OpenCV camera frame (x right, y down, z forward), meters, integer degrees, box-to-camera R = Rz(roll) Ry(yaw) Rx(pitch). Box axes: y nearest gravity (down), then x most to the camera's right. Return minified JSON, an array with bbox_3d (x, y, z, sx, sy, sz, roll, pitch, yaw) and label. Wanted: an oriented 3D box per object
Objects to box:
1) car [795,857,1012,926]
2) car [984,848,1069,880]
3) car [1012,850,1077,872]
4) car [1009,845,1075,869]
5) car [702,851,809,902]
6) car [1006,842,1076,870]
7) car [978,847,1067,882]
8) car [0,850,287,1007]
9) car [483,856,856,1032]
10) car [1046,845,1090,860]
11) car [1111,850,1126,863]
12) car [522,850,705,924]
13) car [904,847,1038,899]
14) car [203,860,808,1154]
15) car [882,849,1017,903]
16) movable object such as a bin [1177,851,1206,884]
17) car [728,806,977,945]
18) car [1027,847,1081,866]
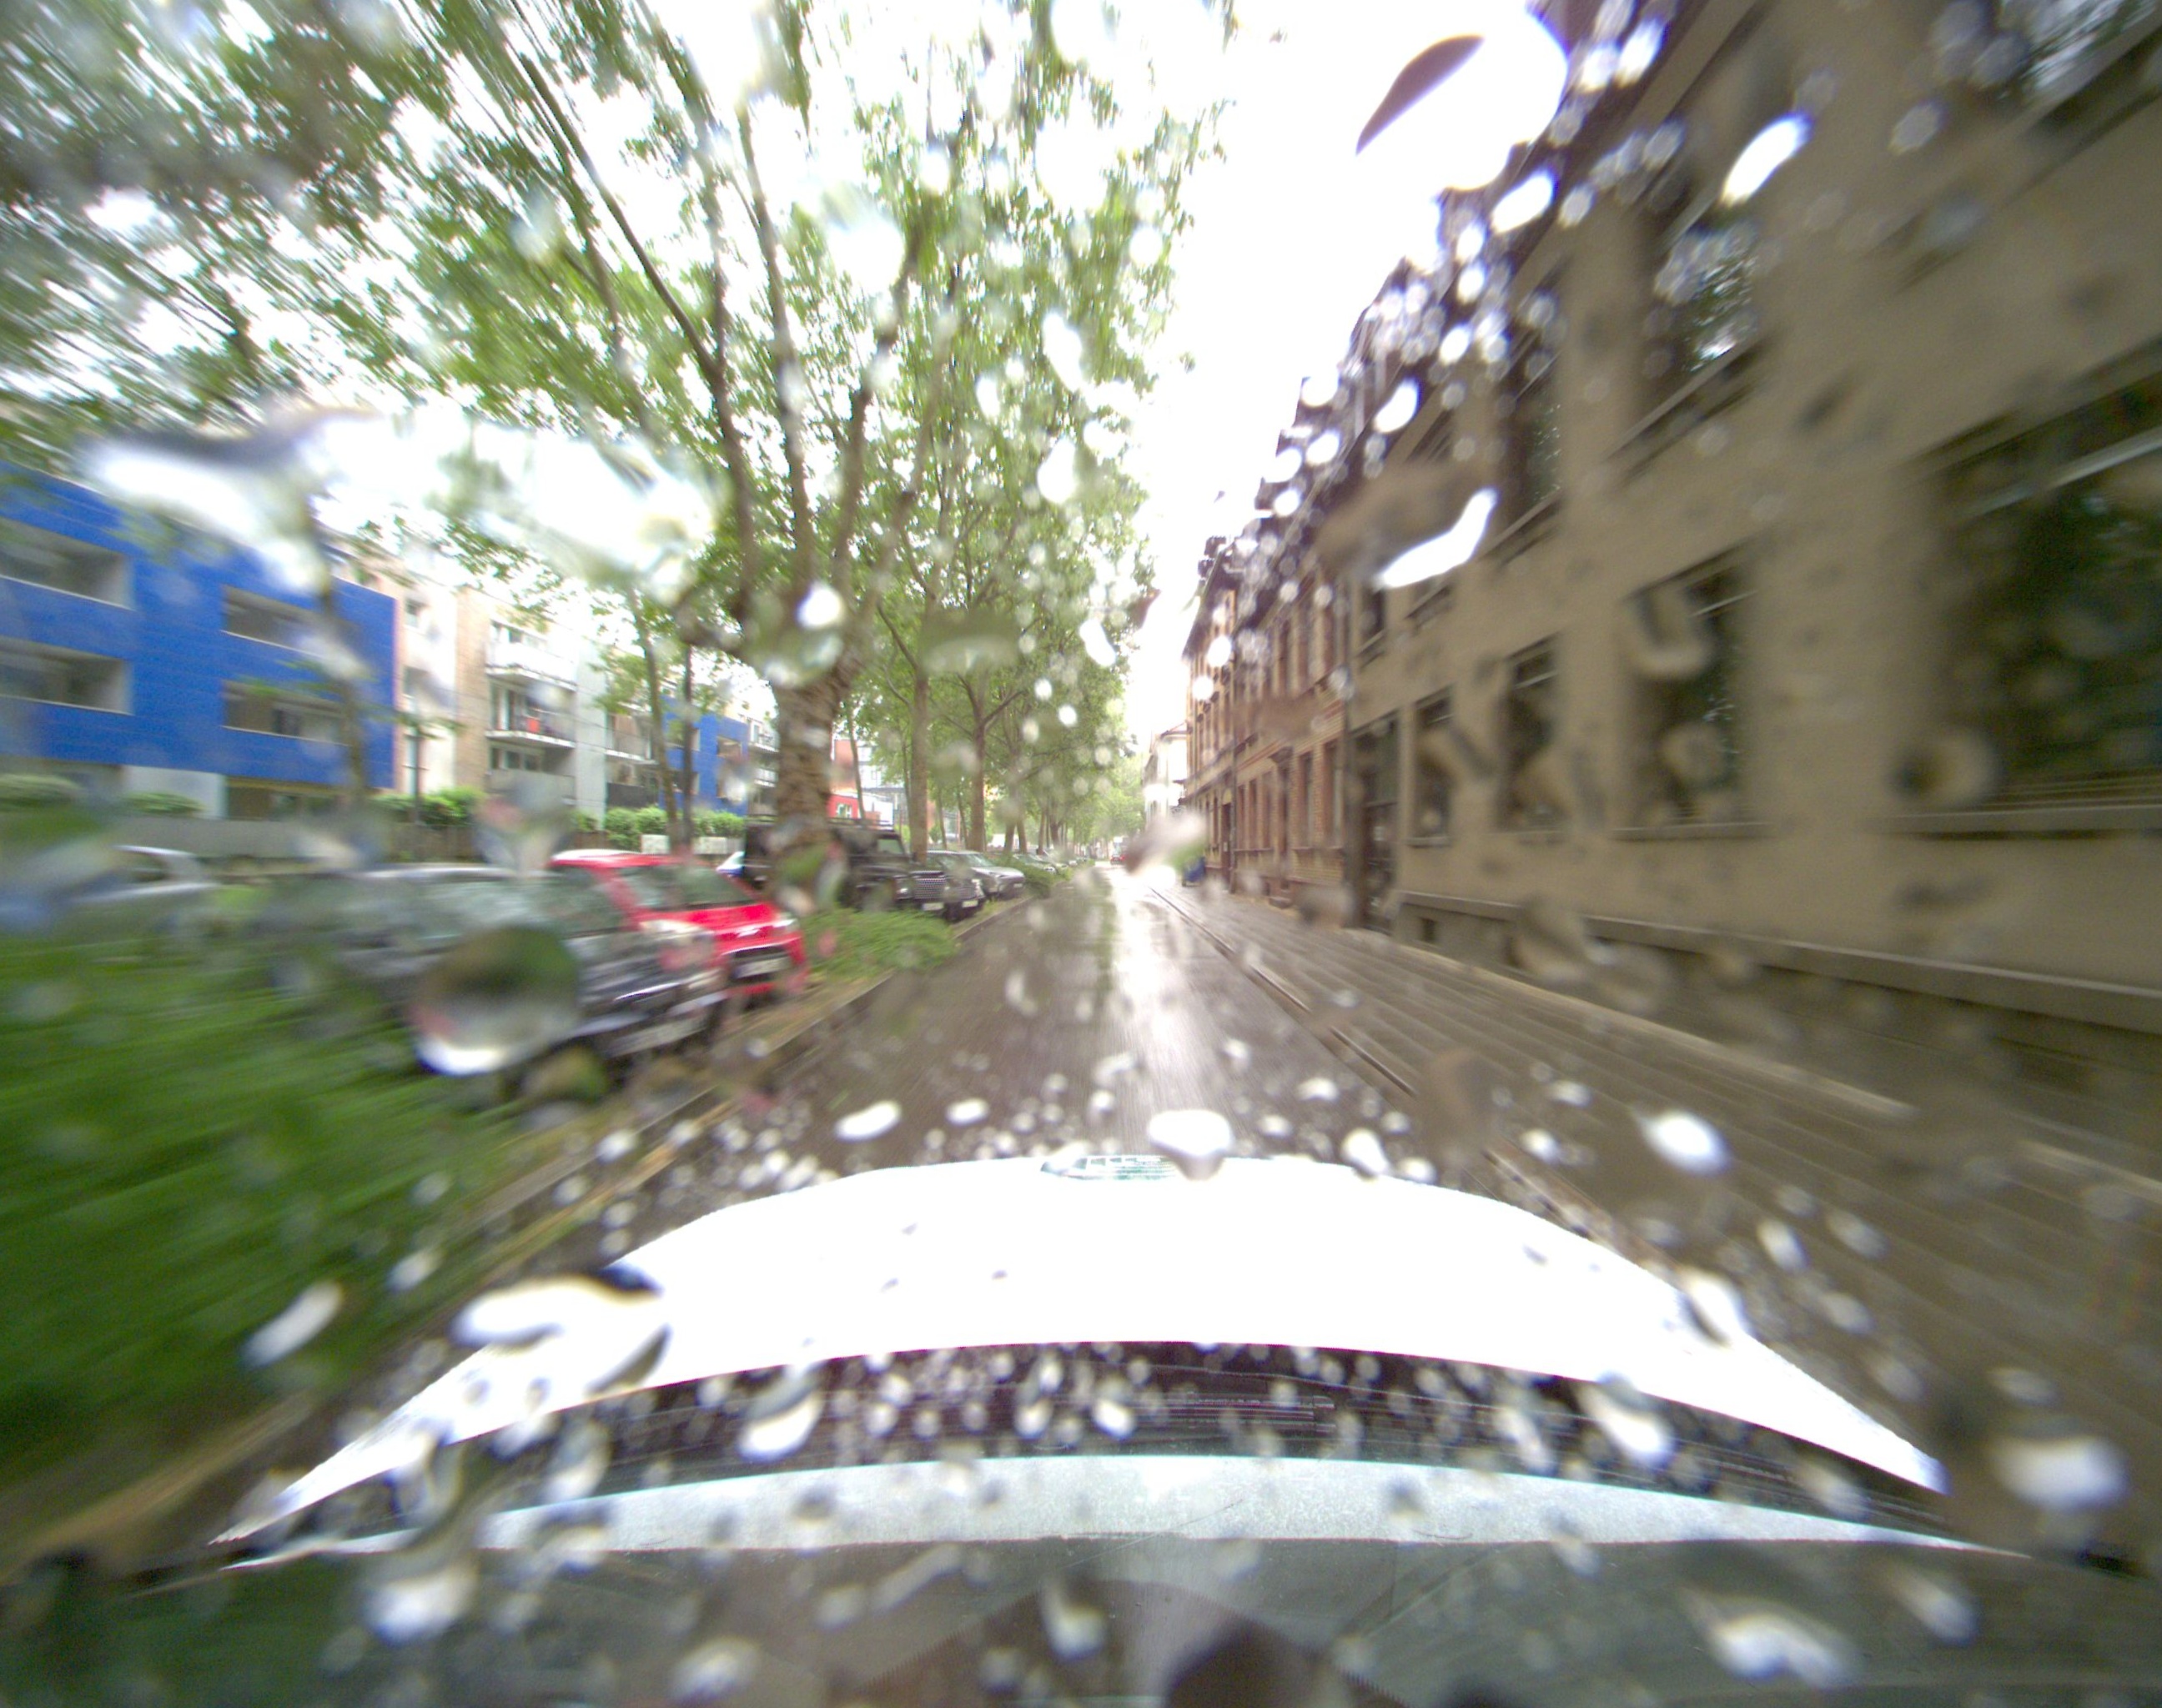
[{"bbox_3d":[-4.001,0.792,18.197,4.601,1.325,1.859,-1,1,29],"label":"car"},{"bbox_3d":[-3.097,0.553,45.742,4.361,1.660,1.942,-1,1,29],"label":"car"},{"bbox_3d":[-2.548,0.468,56.756,4.261,1.436,1.758,0,2,28],"label":"car"},{"bbox_3d":[-2.569,0.196,53.727,4.019,1.499,1.758,0,2,25],"label":"car"},{"bbox_3d":[-10.972,0.696,27.774,1.898,1.534,4.216,-1,1,0],"label":"car"},{"bbox_3d":[-3.169,0.146,63.953,5.065,1.977,2.116,-2,0,32],"label":"car"},{"bbox_3d":[-3.140,0.545,43.076,4.361,1.645,1.884,-3,0,33],"label":"car"},{"bbox_3d":[-11.793,0.763,8.974,1.898,1.534,4.216,-1,1,0],"label":"car"},{"bbox_3d":[-4.304,0.794,8.499,3.459,1.436,1.793,-1,1,29],"label":"car"},{"bbox_3d":[-1.477,-0.183,89.294,4.416,1.597,1.935,0,1,28],"label":"car"},{"bbox_3d":[5.125,0.304,110.773,1.986,1.640,4.001,0,0,1],"label":"car"},{"bbox_3d":[-11.314,0.719,20.139,1.898,1.534,4.421,-1,1,0],"label":"car"},{"bbox_3d":[-3.591,0.568,26.447,4.013,1.537,1.847,0,2,32],"label":"car"},{"bbox_3d":[-4.136,0.819,5.811,3.996,1.434,1.792,-1,1,26],"label":"car"},{"bbox_3d":[-3.825,0.639,23.767,3.469,1.467,1.651,-1,1,23],"label":"car"},{"bbox_3d":[4.831,0.567,35.642,1.017,1.301,1.367,-4,1,1],"label":"movable object such as a bin"},{"bbox_3d":[-4.423,0.354,15.480,4.600,2.283,2.025,-1,1,35],"label":"car"},{"bbox_3d":[-2.406,0.236,72.355,4.502,1.482,1.786,-2,1,32],"label":"car"}]
